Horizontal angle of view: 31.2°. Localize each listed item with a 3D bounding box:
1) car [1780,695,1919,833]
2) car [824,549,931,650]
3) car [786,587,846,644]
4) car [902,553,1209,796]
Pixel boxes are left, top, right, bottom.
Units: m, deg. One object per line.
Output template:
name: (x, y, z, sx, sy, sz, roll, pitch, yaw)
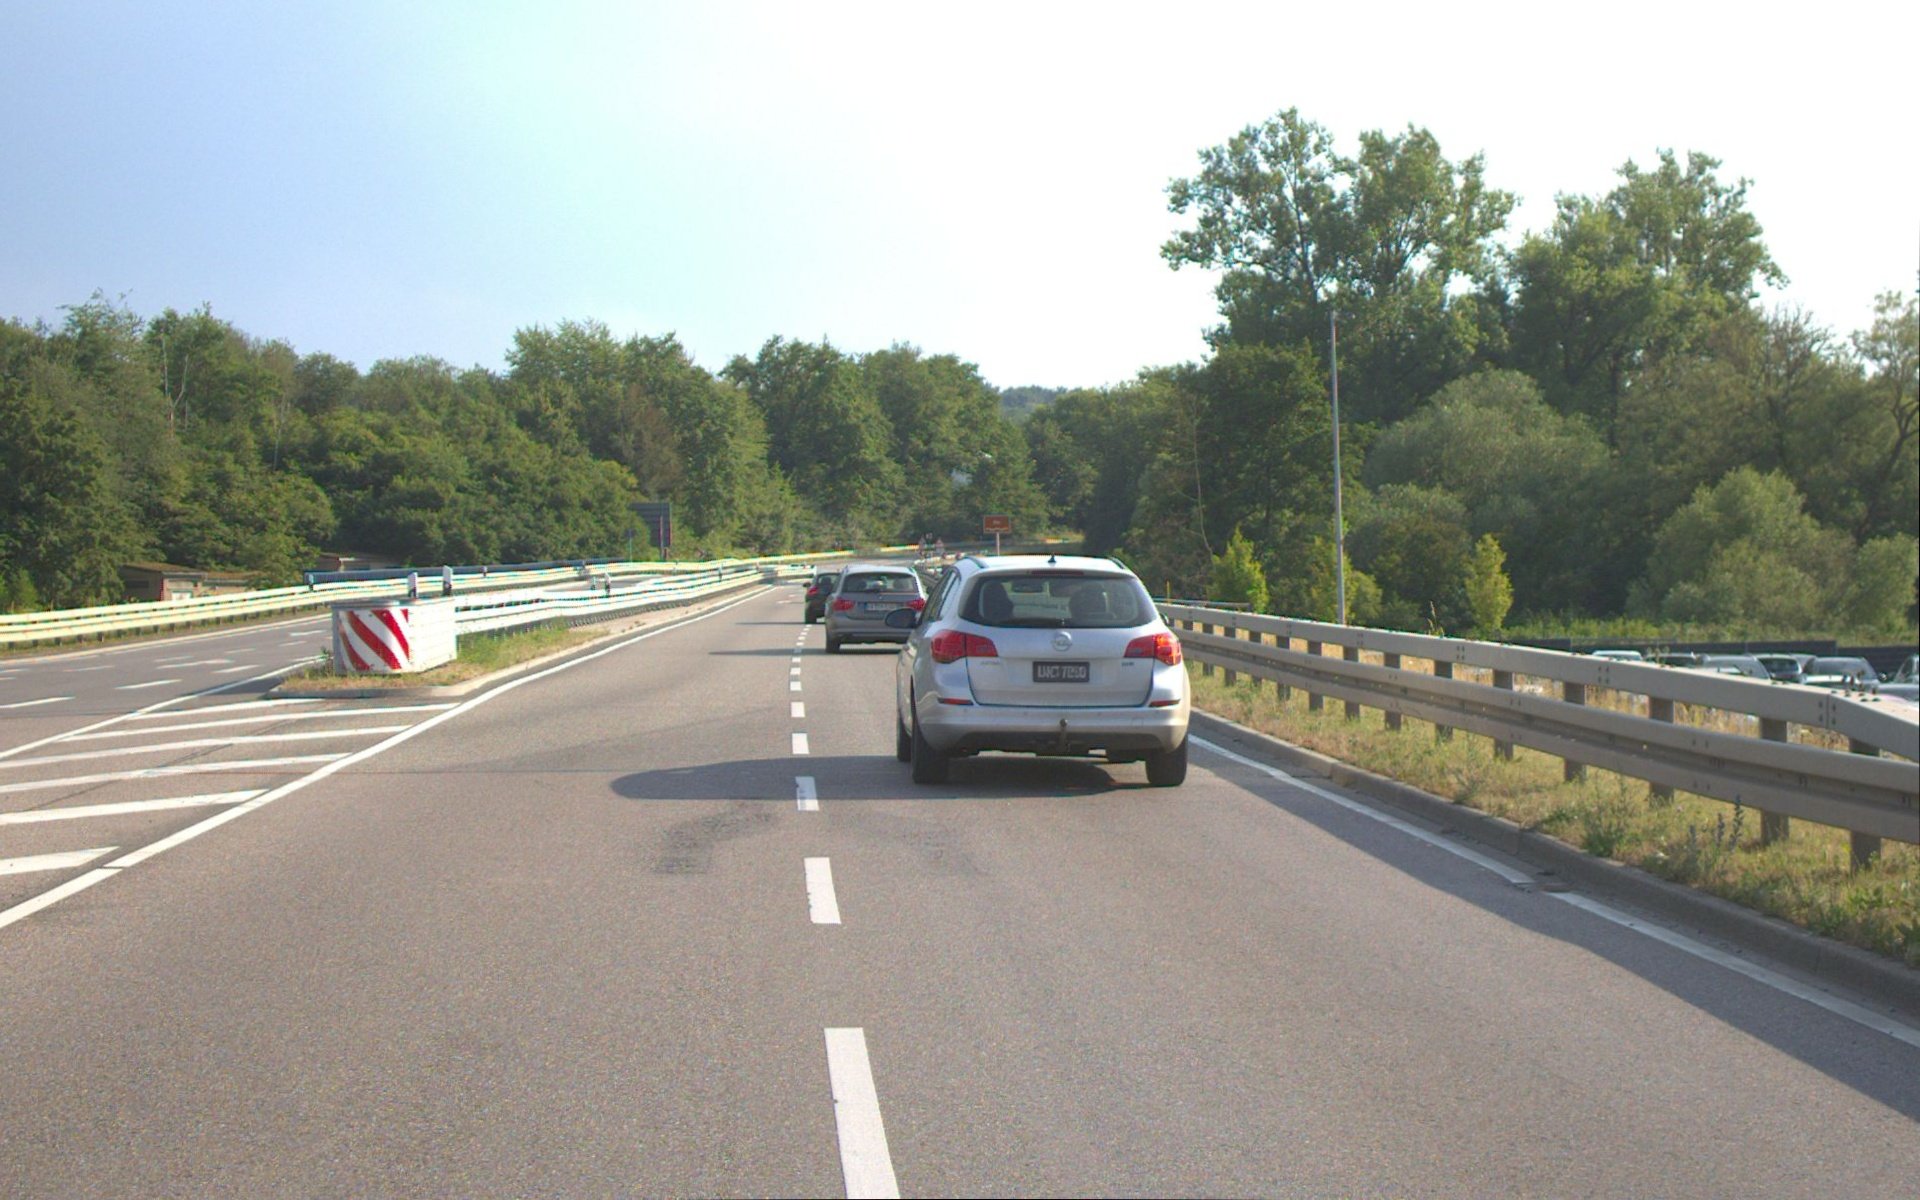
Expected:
car: (12.690, 2.147, 45.877, 1.879, 1.620, 4.730, 1, 0, -6)
car: (-1.356, 0.001, 56.541, 1.667, 1.568, 4.000, 1, 0, -1)
car: (-3.815, 0.409, 91.325, 1.492, 1.471, 3.359, 1, 0, -1)
car: (0.560, 0.466, 23.287, 1.809, 1.481, 4.000, 1, 0, -2)
